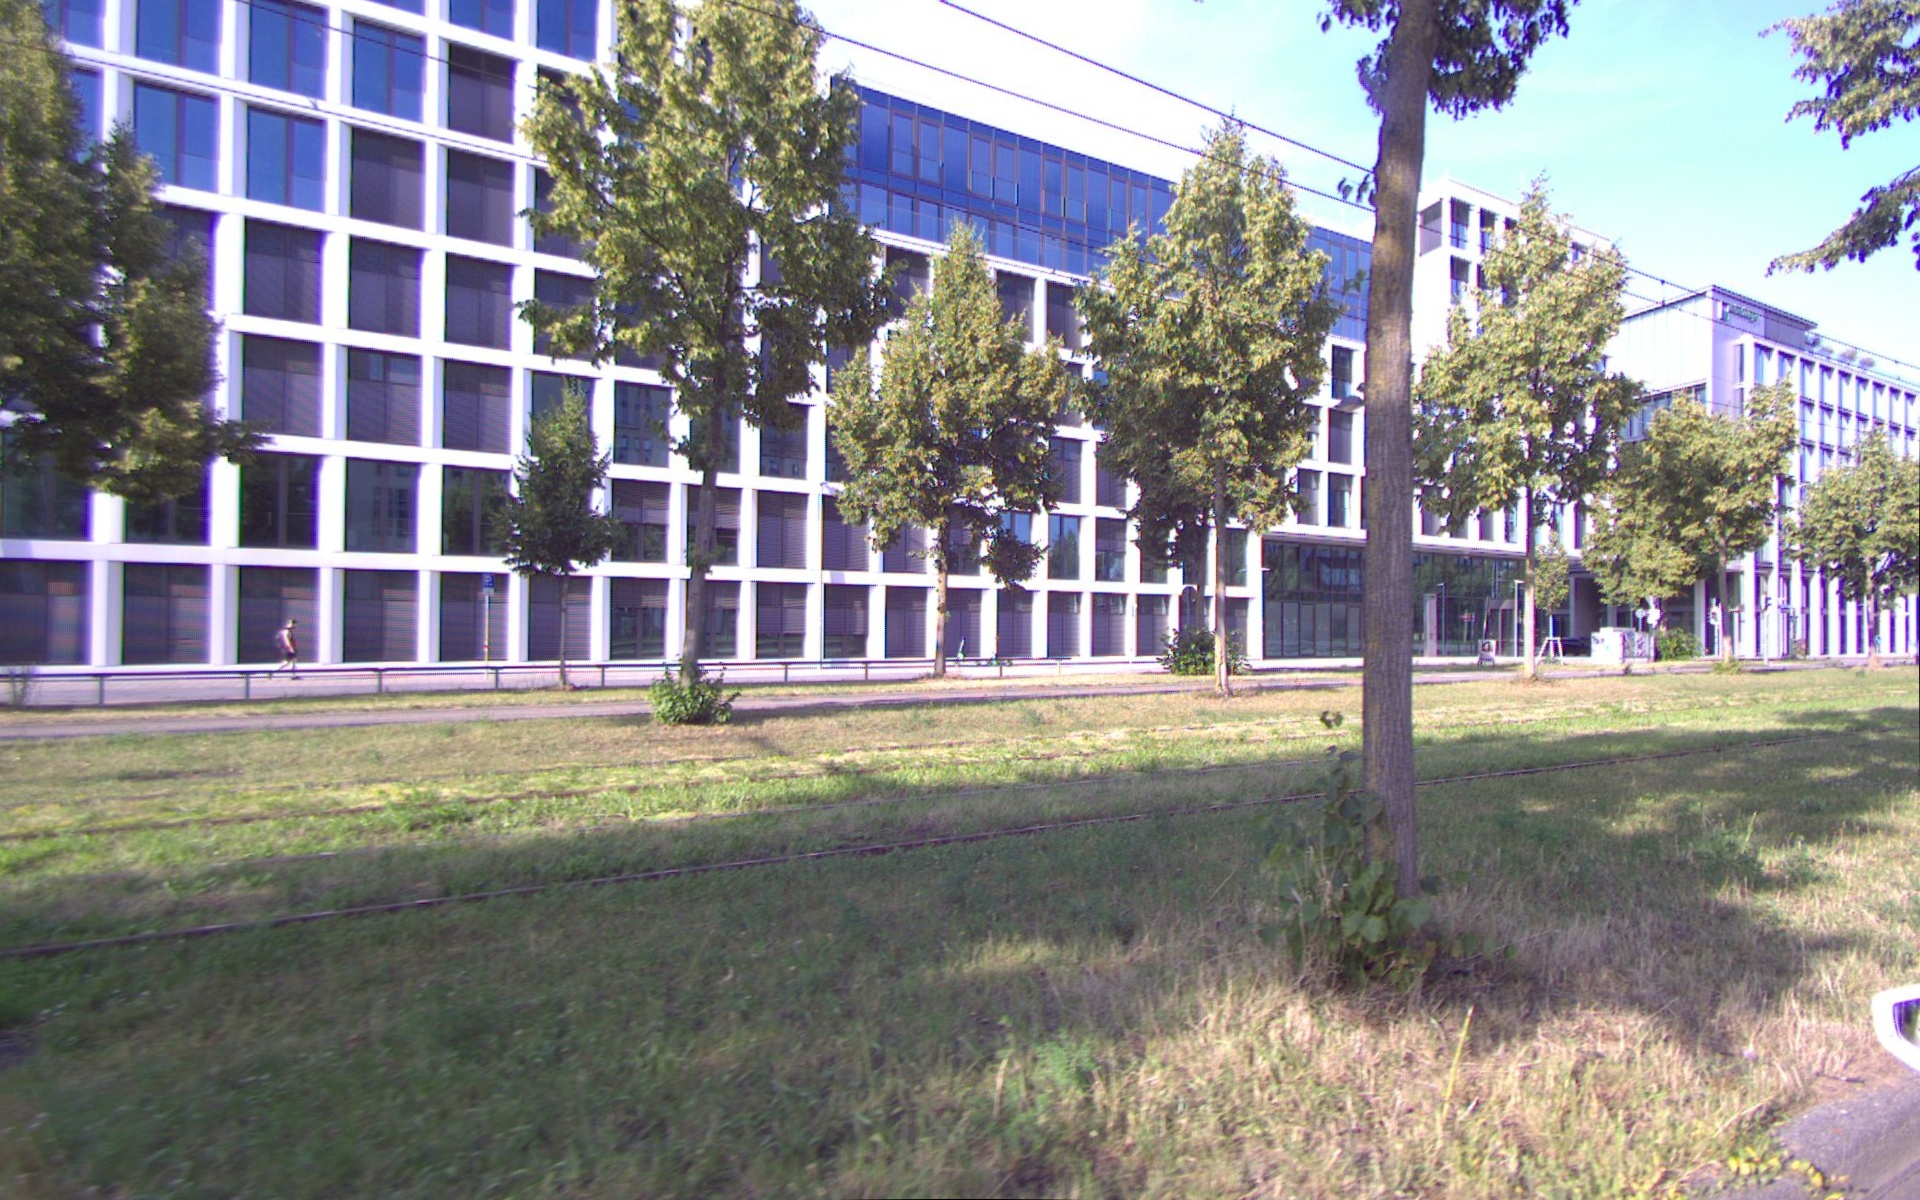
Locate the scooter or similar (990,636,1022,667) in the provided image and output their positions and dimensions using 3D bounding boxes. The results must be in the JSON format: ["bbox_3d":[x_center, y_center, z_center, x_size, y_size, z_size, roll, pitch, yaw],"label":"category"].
[{"bbox_3d":[1.940,2.175,42.374,1.278,1.242,0.335,2,0,-17],"label":"scooter or similar"}]

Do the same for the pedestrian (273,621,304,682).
[{"bbox_3d":[-19.725,1.507,29.522,0.683,1.751,0.565,2,0,-30],"label":"pedestrian"}]

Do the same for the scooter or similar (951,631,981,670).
[{"bbox_3d":[0.243,2.046,41.241,0.409,1.496,1.922,2,0,-25],"label":"scooter or similar"}]
